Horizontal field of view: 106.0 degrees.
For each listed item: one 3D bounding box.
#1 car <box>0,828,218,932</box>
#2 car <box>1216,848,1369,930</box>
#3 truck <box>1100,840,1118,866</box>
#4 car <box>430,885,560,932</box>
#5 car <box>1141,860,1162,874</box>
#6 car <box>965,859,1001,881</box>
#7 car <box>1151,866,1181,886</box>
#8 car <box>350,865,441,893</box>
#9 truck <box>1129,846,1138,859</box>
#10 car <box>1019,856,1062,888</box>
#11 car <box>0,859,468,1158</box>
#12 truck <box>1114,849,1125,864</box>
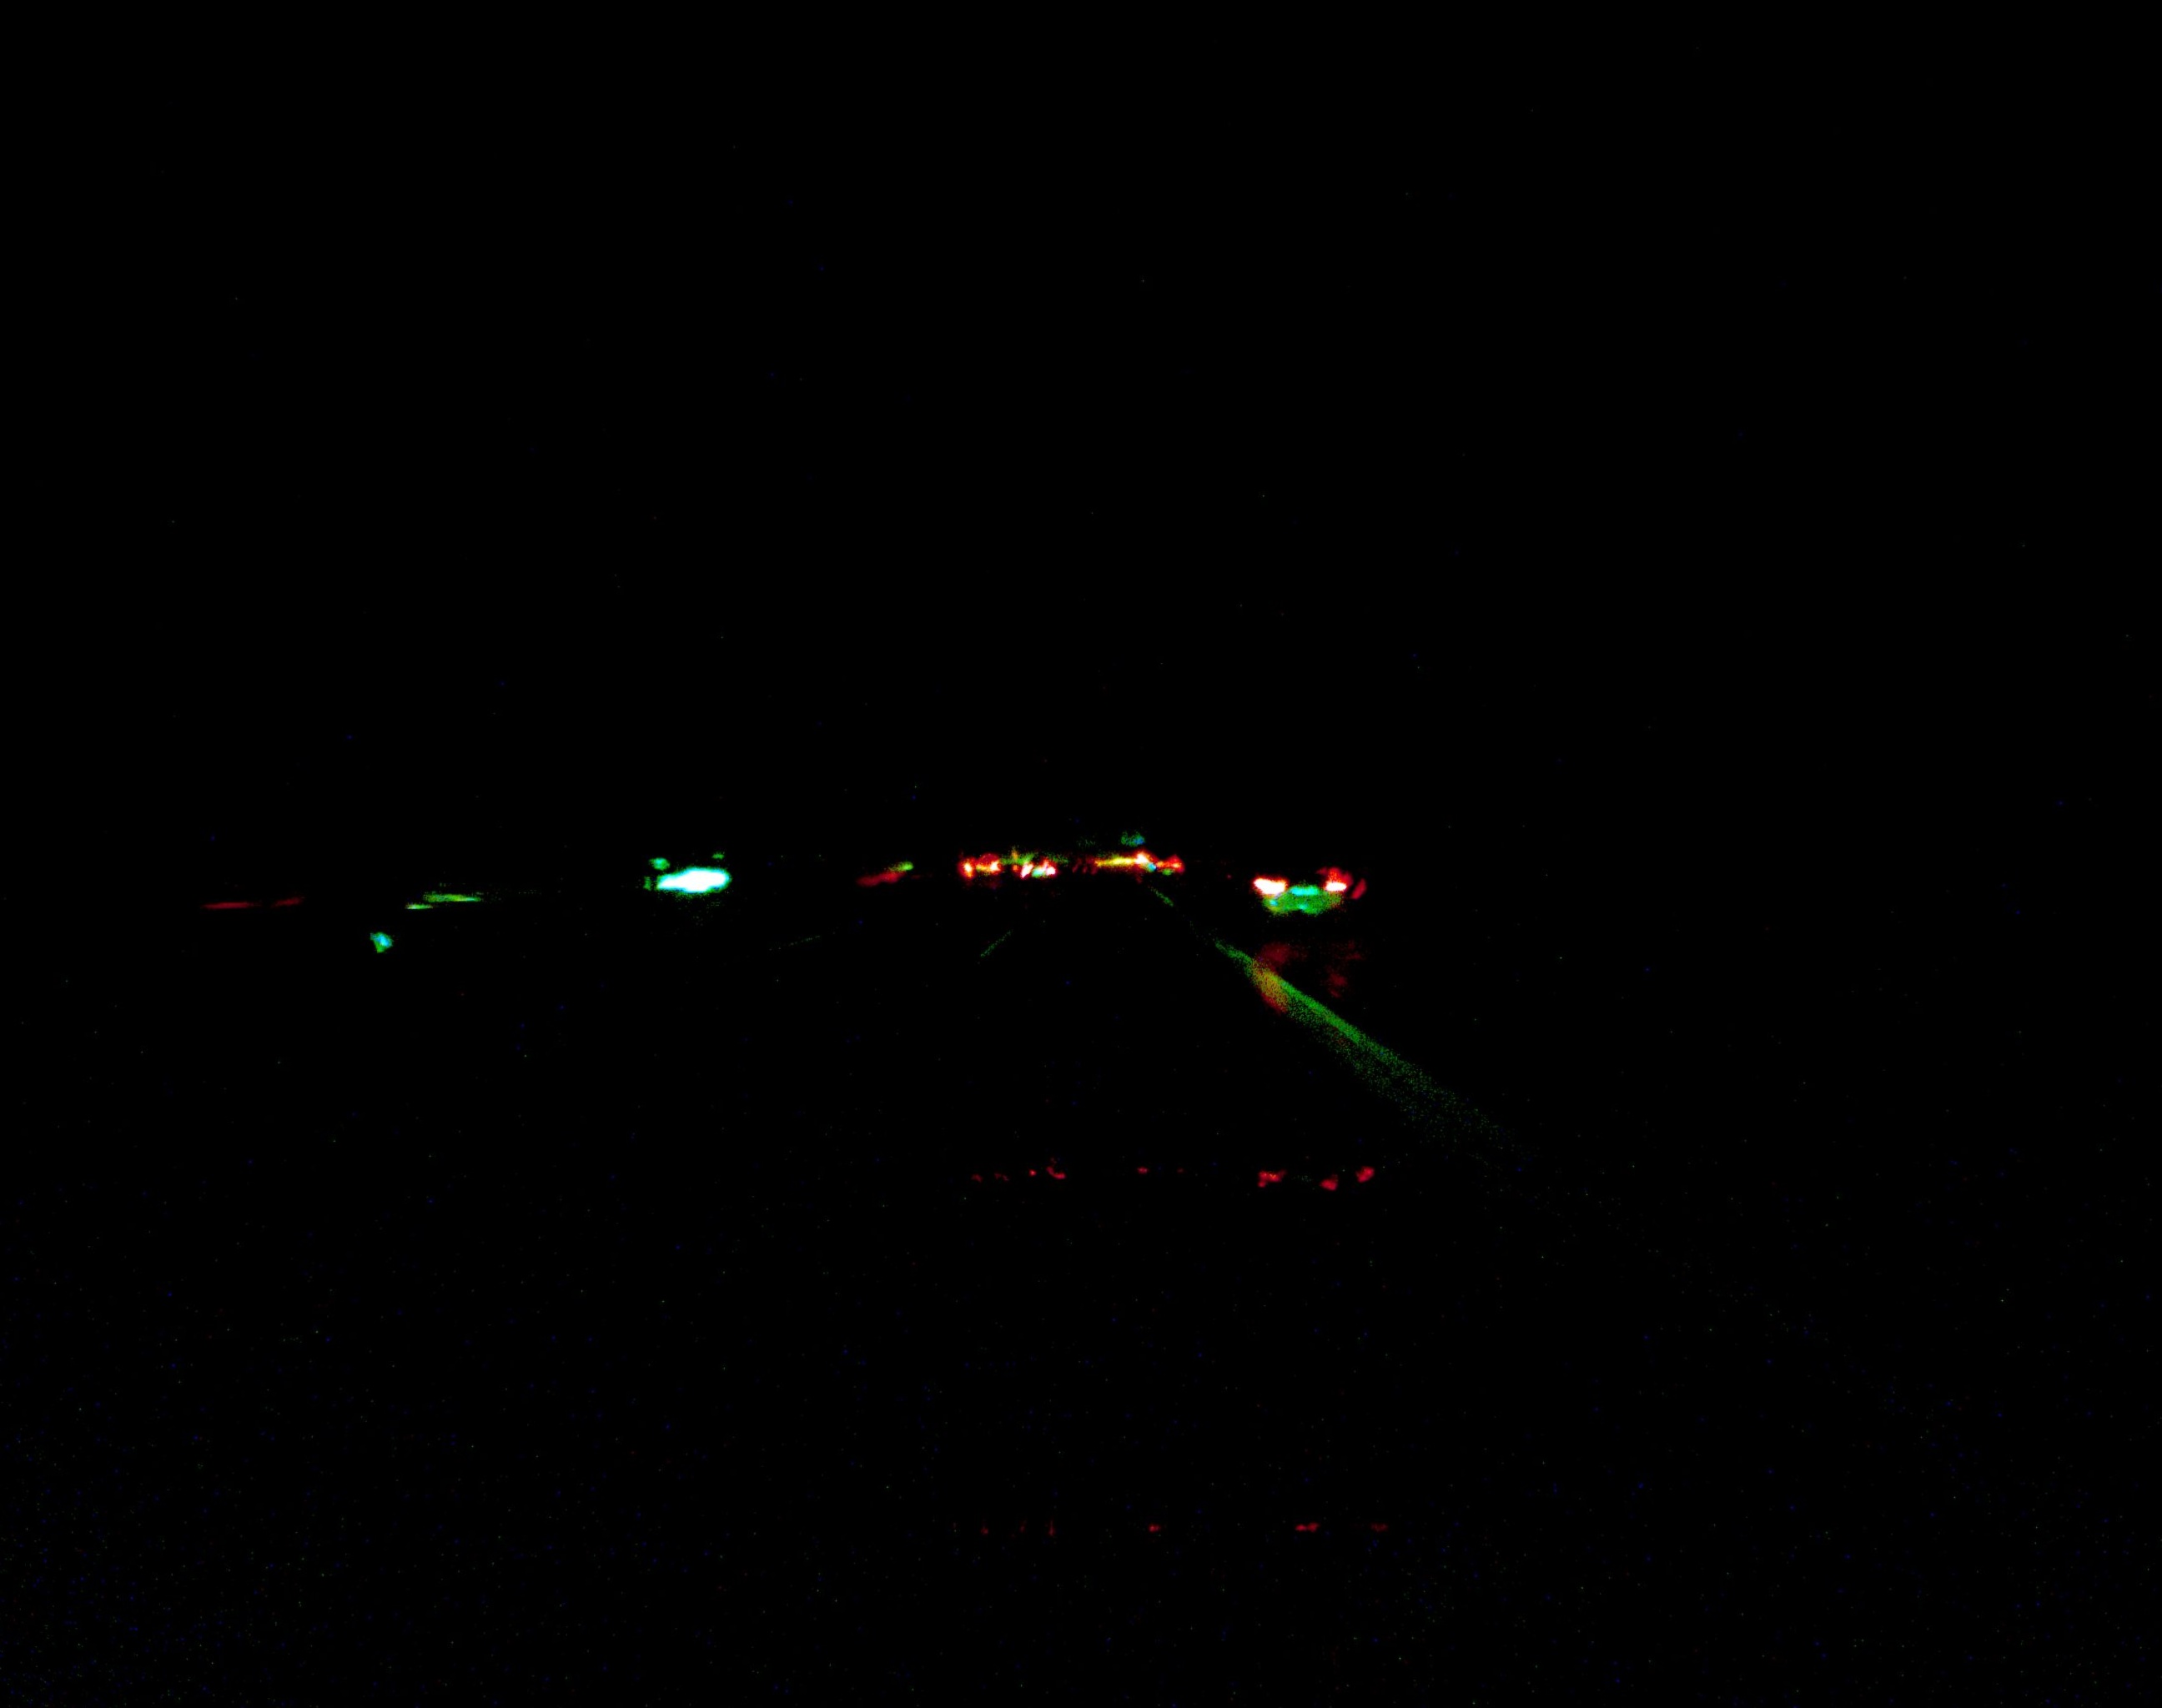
[{"bbox_3d":[-17.057,0.451,13.005,1.832,1.526,4.293,-4,-2,2],"label":"car"},{"bbox_3d":[4.405,0.651,17.853,2.051,1.519,5.015,-1,0,0],"label":"car"},{"bbox_3d":[3.605,-0.122,104.450,1.985,3.043,6.470,-4,-2,3],"label":"truck"},{"bbox_3d":[-22.921,2.086,32.084,1.833,1.526,4.293,-5,-2,2],"label":"car"},{"bbox_3d":[6.352,1.166,73.512,1.576,1.246,3.066,-1,-1,-2],"label":"car"},{"bbox_3d":[-6.142,1.000,51.359,1.657,1.236,3.761,-4,-2,0],"label":"car"},{"bbox_3d":[5.465,1.406,52.672,1.576,1.246,3.066,-1,-1,-2],"label":"car"},{"bbox_3d":[-44.232,1.593,52.659,1.982,1.676,4.184,-1,0,8],"label":"car"},{"bbox_3d":[13.045,-0.375,203.486,1.985,3.043,6.470,-4,-2,3],"label":"truck"},{"bbox_3d":[-1.985,0.872,41.106,1.795,1.487,4.002,-1,0,2],"label":"car"},{"bbox_3d":[-6.558,0.835,4.984,1.851,1.541,4.753,-1,0,2],"label":"car"},{"bbox_3d":[8.469,0.610,179.562,1.985,3.043,6.470,-4,-2,3],"label":"truck"}]
